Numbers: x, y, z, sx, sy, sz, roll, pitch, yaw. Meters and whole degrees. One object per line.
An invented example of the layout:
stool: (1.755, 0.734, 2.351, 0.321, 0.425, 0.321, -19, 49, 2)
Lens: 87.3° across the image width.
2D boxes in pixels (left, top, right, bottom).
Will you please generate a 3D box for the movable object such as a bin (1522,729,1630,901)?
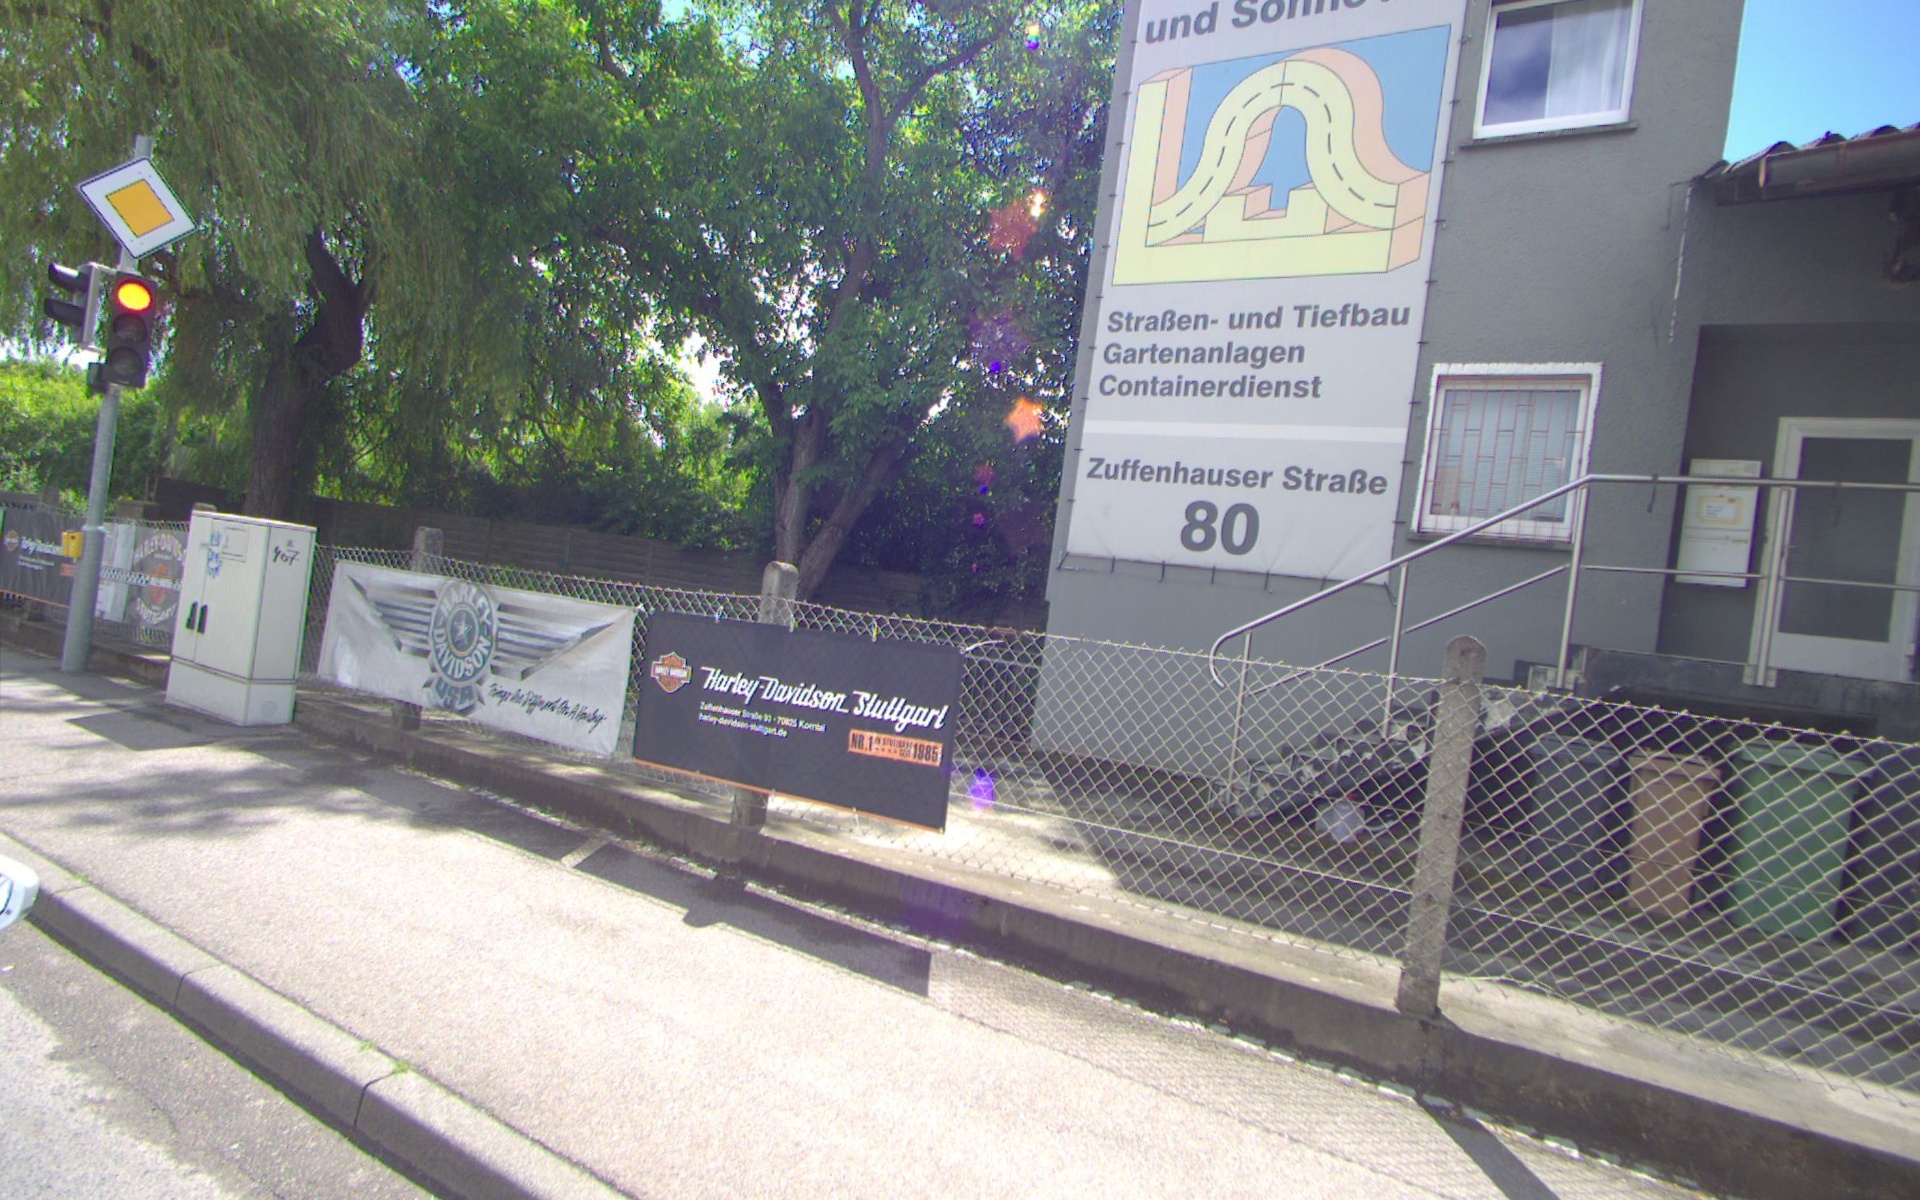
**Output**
movable object such as a bin: (3.824, 1.314, 6.273, 0.466, 0.941, 0.482, 7, -1, 30)

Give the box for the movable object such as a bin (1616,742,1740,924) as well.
movable object such as a bin: (4.269, 1.363, 6.010, 0.466, 0.941, 0.482, 7, -1, 30)

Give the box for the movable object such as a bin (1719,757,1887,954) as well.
movable object such as a bin: (4.765, 1.417, 5.719, 0.574, 0.941, 0.482, 6, -1, 30)
